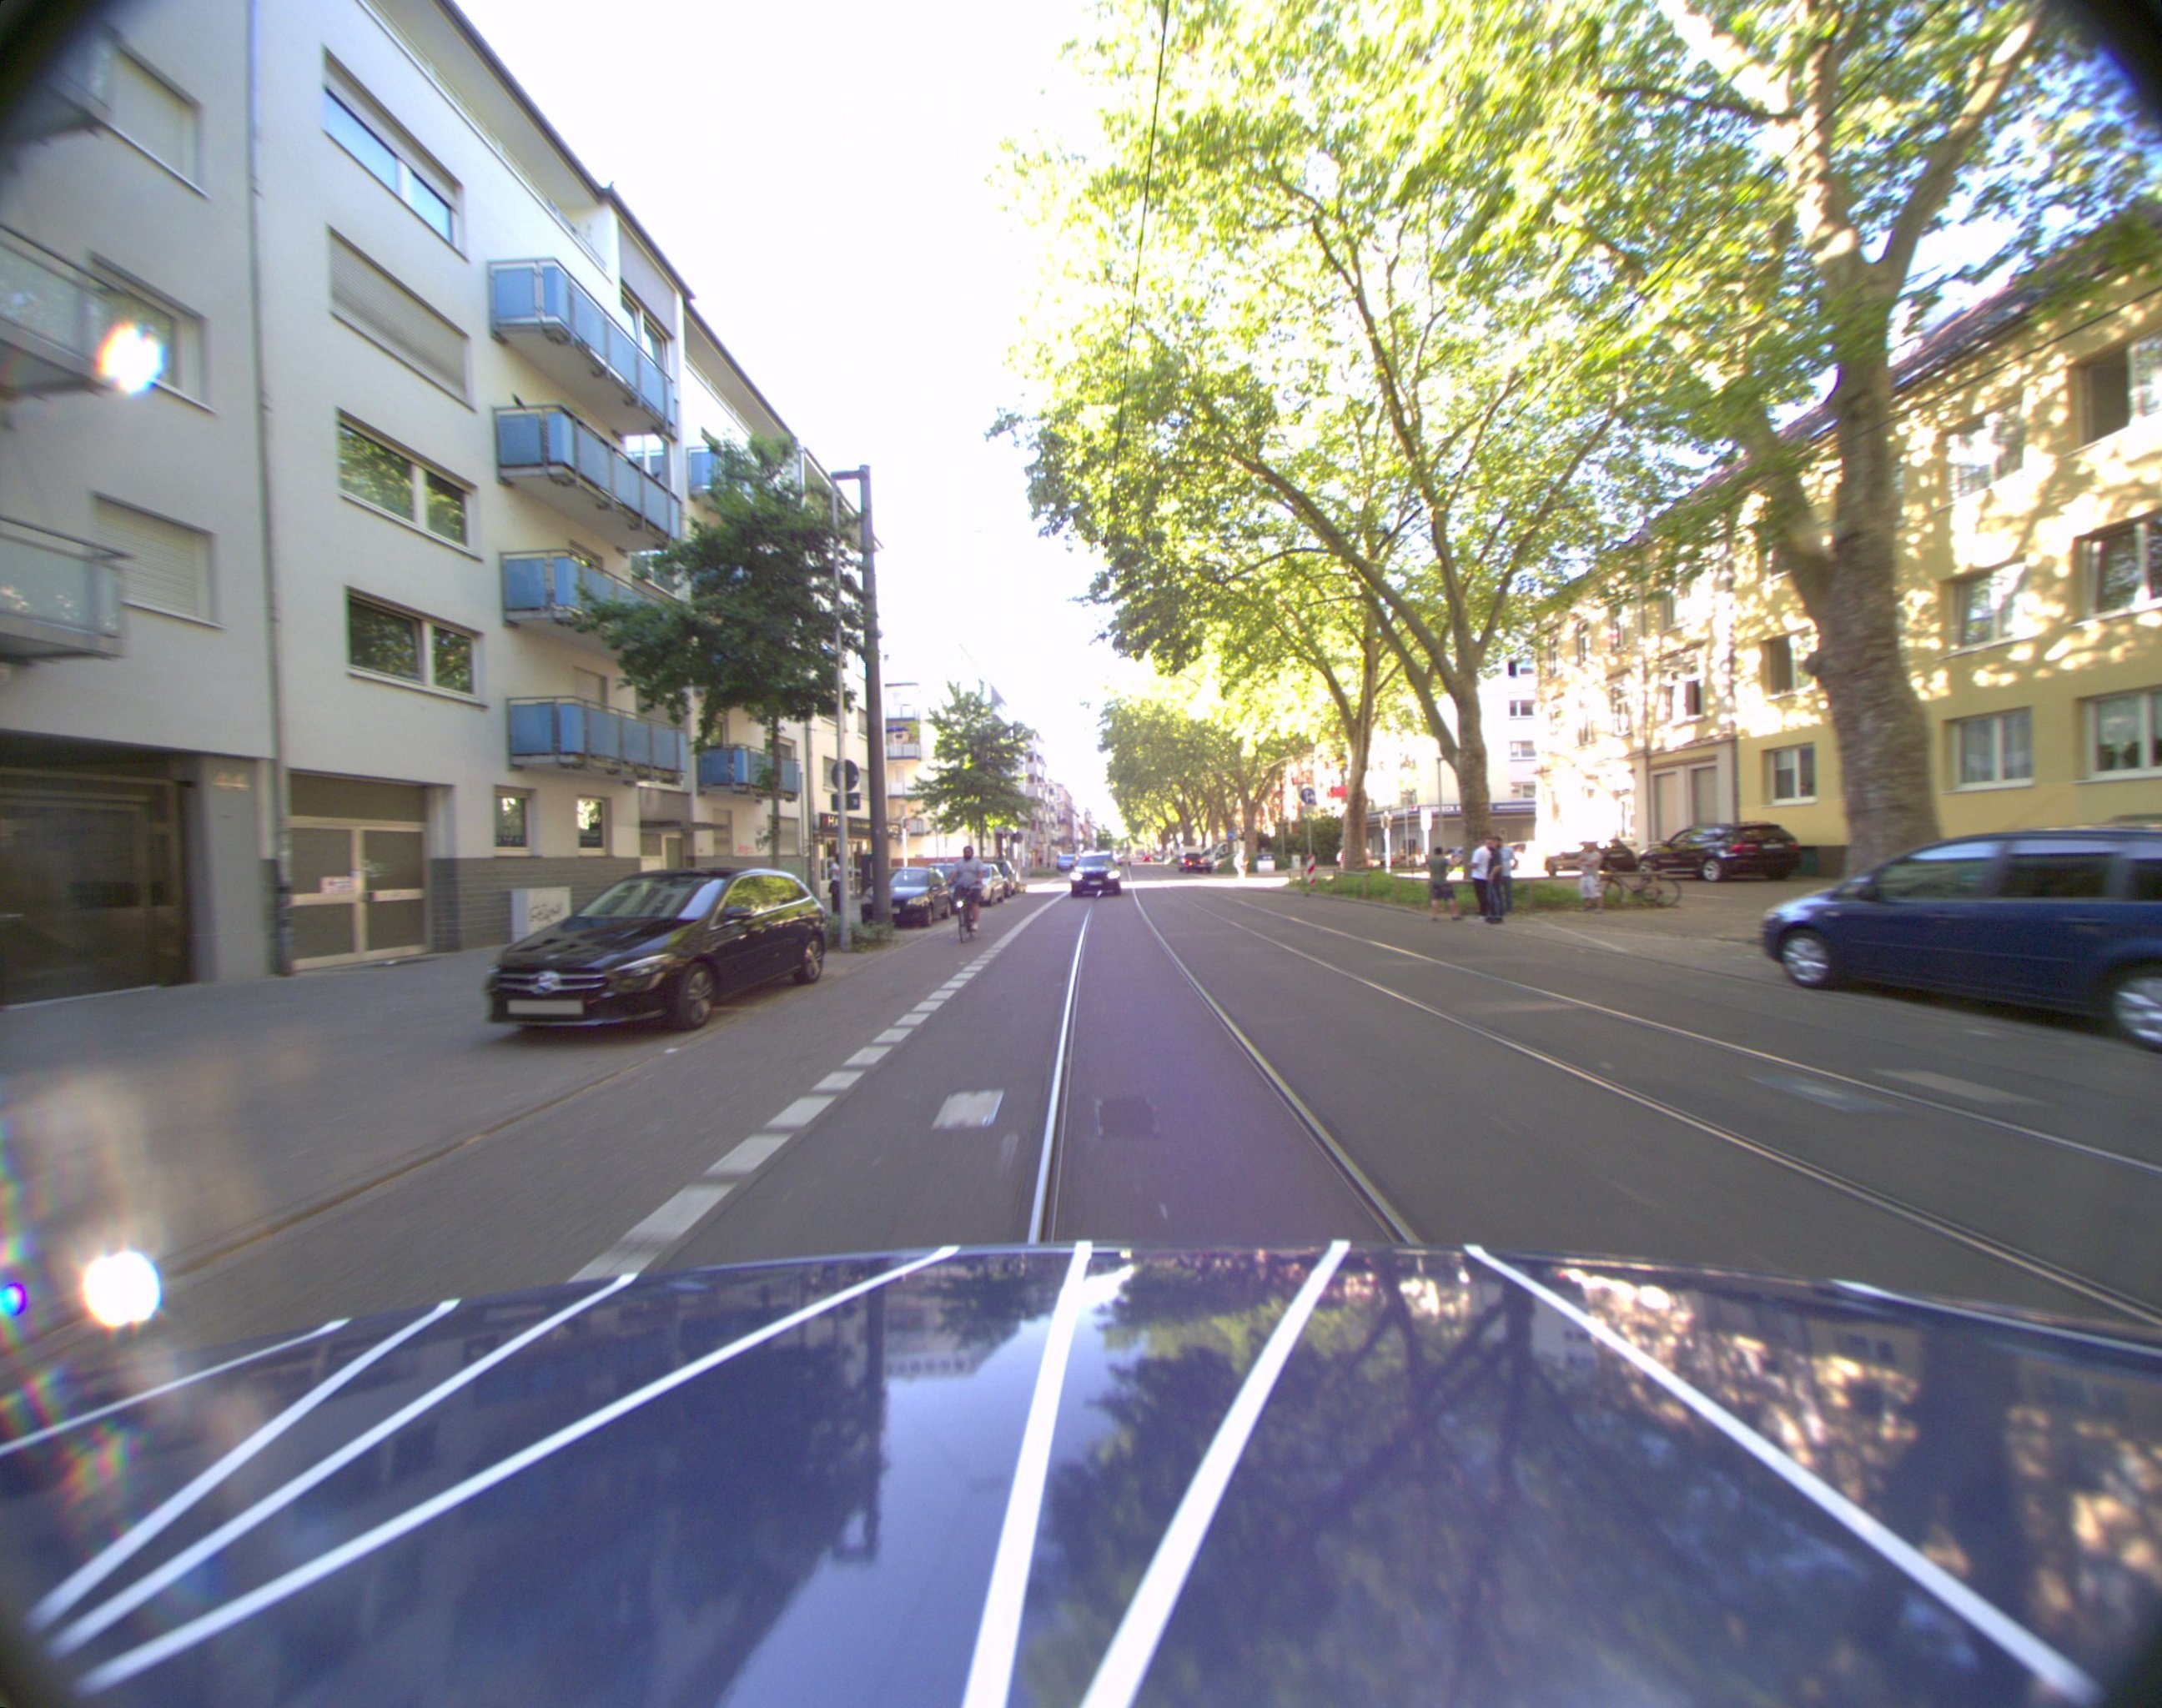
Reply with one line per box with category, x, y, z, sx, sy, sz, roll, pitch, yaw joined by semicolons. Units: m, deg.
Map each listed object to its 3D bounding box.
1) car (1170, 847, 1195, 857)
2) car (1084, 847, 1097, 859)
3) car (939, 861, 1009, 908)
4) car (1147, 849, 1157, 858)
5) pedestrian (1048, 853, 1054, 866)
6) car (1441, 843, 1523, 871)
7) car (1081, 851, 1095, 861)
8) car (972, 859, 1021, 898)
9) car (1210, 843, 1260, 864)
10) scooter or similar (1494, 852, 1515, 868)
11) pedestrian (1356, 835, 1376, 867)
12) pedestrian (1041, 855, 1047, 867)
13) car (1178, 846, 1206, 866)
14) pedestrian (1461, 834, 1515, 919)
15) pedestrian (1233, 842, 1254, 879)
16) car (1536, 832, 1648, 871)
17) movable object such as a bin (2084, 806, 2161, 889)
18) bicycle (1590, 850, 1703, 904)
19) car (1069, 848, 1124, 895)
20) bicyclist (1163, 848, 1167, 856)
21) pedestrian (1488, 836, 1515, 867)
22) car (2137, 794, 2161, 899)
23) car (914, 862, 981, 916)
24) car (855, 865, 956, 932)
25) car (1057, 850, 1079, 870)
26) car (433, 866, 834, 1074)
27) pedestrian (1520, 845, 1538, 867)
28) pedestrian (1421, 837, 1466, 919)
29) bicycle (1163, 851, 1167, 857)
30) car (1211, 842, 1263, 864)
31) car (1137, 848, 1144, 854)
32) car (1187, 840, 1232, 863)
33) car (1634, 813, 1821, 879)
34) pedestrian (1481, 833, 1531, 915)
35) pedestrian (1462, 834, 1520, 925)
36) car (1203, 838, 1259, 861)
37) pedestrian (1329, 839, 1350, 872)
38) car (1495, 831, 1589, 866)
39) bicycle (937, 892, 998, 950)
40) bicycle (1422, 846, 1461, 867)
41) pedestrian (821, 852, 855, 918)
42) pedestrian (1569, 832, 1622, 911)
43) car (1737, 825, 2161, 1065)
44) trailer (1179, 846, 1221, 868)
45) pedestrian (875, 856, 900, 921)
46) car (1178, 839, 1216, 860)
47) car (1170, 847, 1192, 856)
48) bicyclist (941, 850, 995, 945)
car;17.276;-0.359;129.607;3.996;1.458;2.000;-3;1;1
car;1.700;-0.191;132.371;1.990;2.085;4.471;-3;1;4
car;-3.776;1.039;27.478;1.790;1.528;4.128;0;0;3
car;15.919;-0.103;170.368;1.998;1.723;4.400;-3;1;3
pedestrian;-4.153;0.756;104.815;0.697;1.685;0.678;-3;1;3
car;25.331;0.177;48.103;4.152;1.469;1.835;-3;1;3
car;1.136;0.296;122.560;1.867;1.499;4.000;-3;1;4
car;-3.645;1.018;33.373;1.724;1.562;4.259;0;1;0
car;13.566;-0.023;67.204;3.996;1.636;2.000;-3;1;1
scooter or similar;21.014;0.278;37.718;0.529;0.749;0.896;-3;1;1
pedestrian;16.148;-0.173;43.034;0.724;1.770;0.669;-3;2;-10
pedestrian;-4.614;0.905;95.676;0.590;1.493;0.600;-3;1;3
car;9.672;0.164;66.590;1.927;1.674;4.182;0;1;1
pedestrian;8.659;0.469;16.165;0.768;1.725;0.715;-2;2;45
pedestrian;8.129;0.316;38.129;0.700;1.781;0.801;-3;1;-9
car;20.296;-0.116;30.399;1.783;1.379;3.999;-3;1;1
movable object such as a bin;20.283;-0.138;14.208;1.233;1.493;1.343;-3;1;2
bicycle;11.982;0.500;16.172;1.847;1.073;0.570;-3;1;30
car;0.704;0.629;30.678;1.998;1.723;4.400;-1;1;3
bicyclist;13.242;-0.321;119.922;0.533;1.206;0.666;-3;1;4
pedestrian;21.365;-0.132;38.628;0.774;1.470;1.069;-3;1;1
car;18.593;-0.140;10.260;1.998;1.723;4.898;-3;1;4
car;-4.063;1.023;23.492;1.447;1.528;2.881;0;0;3
car;-4.341;1.051;19.316;1.626;1.473;3.889;0;0;0
car;-1.414;0.639;81.990;1.957;1.914;4.000;-3;1;4
car;-4.448;0.994;8.491;1.763;1.578;4.329;1;1;3
pedestrian;22.045;0.088;37.402;0.544;1.034;0.545;-4;1;-30
pedestrian;7.833;0.509;16.455;0.712;1.725;0.771;-3;1;16
bicycle;13.253;-0.054;119.929;0.533;0.901;1.557;-3;1;4
car;13.256;-0.080;64.591;3.996;1.600;1.909;-3;1;1
car;19.566;-1.039;249.052;1.998;1.723;4.400;-3;1;3
car;14.195;-0.301;84.195;4.660;2.293;2.000;-3;1;3
car;19.577;-0.253;23.372;1.998;1.726;4.696;-3;1;5
pedestrian;9.255;0.433;16.564;0.769;1.725;0.718;-3;1;18
pedestrian;8.301;0.496;15.400;0.713;1.767;0.771;-3;1;3
car;14.871;-0.458;75.567;5.133;1.984;1.999;-3;1;-1
pedestrian;14.293;0.081;41.967;0.741;1.747;0.733;-4;1;-35
car;25.395;-0.273;41.952;4.011;1.627;1.801;-3;-3;3
bicycle;-2.255;1.322;15.403;0.790;0.932;1.939;-3;1;3
bicycle;19.927;0.126;42.018;1.867;1.056;0.656;-3;1;-5
pedestrian;-6.941;0.871;21.710;0.538;1.841;0.665;-2;1;36
pedestrian;10.793;0.360;15.942;0.768;1.600;0.715;-2;2;45
car;8.248;0.578;6.338;1.921;1.553;4.284;-3;1;2
trailer;9.453;0.212;61.071;2.452;1.622;6.584;0;1;1
pedestrian;-5.659;0.999;22.238;0.477;1.841;0.664;-3;1;0
car;15.078;-0.612;98.939;4.660;2.518;2.000;-3;1;3
car;19.397;-0.430;147.703;3.996;1.458;2.000;-3;1;1
bicyclist;-2.280;0.856;15.470;0.769;1.821;1.099;-3;1;3
